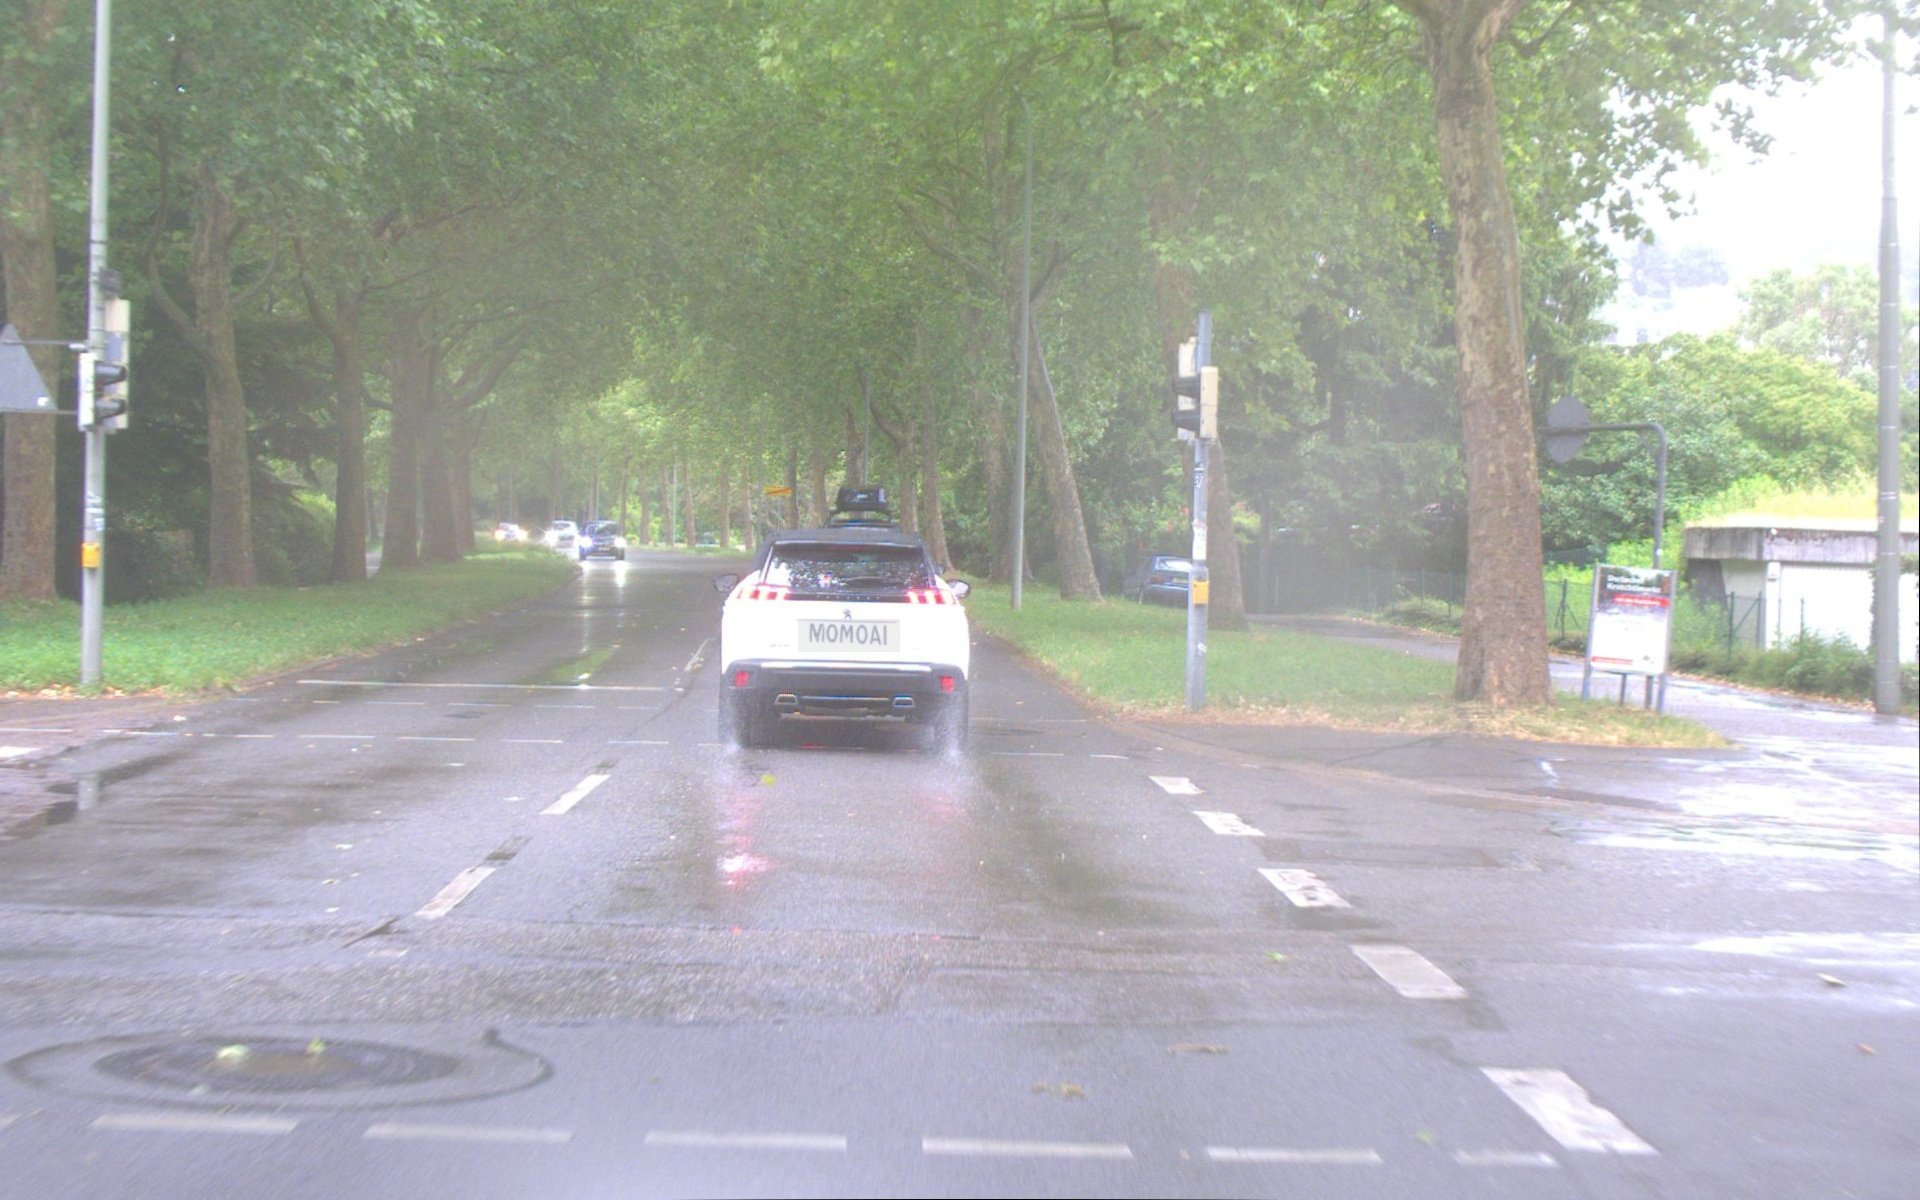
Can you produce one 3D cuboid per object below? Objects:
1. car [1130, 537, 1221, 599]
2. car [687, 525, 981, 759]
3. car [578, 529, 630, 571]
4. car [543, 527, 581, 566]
[{"bbox_3d":[5.491,-0.837,88.016,1.905,1.504,3.932,2,1,-2],"label":"car"},{"bbox_3d":[-1.013,0.249,25.488,1.780,1.531,4.058,1,1,-7],"label":"car"},{"bbox_3d":[-14.800,-2.087,143.118,1.873,1.671,3.708,2,1,-2],"label":"car"},{"bbox_3d":[-21.240,-2.835,183.485,1.741,2.007,3.665,2,1,-3],"label":"car"}]
